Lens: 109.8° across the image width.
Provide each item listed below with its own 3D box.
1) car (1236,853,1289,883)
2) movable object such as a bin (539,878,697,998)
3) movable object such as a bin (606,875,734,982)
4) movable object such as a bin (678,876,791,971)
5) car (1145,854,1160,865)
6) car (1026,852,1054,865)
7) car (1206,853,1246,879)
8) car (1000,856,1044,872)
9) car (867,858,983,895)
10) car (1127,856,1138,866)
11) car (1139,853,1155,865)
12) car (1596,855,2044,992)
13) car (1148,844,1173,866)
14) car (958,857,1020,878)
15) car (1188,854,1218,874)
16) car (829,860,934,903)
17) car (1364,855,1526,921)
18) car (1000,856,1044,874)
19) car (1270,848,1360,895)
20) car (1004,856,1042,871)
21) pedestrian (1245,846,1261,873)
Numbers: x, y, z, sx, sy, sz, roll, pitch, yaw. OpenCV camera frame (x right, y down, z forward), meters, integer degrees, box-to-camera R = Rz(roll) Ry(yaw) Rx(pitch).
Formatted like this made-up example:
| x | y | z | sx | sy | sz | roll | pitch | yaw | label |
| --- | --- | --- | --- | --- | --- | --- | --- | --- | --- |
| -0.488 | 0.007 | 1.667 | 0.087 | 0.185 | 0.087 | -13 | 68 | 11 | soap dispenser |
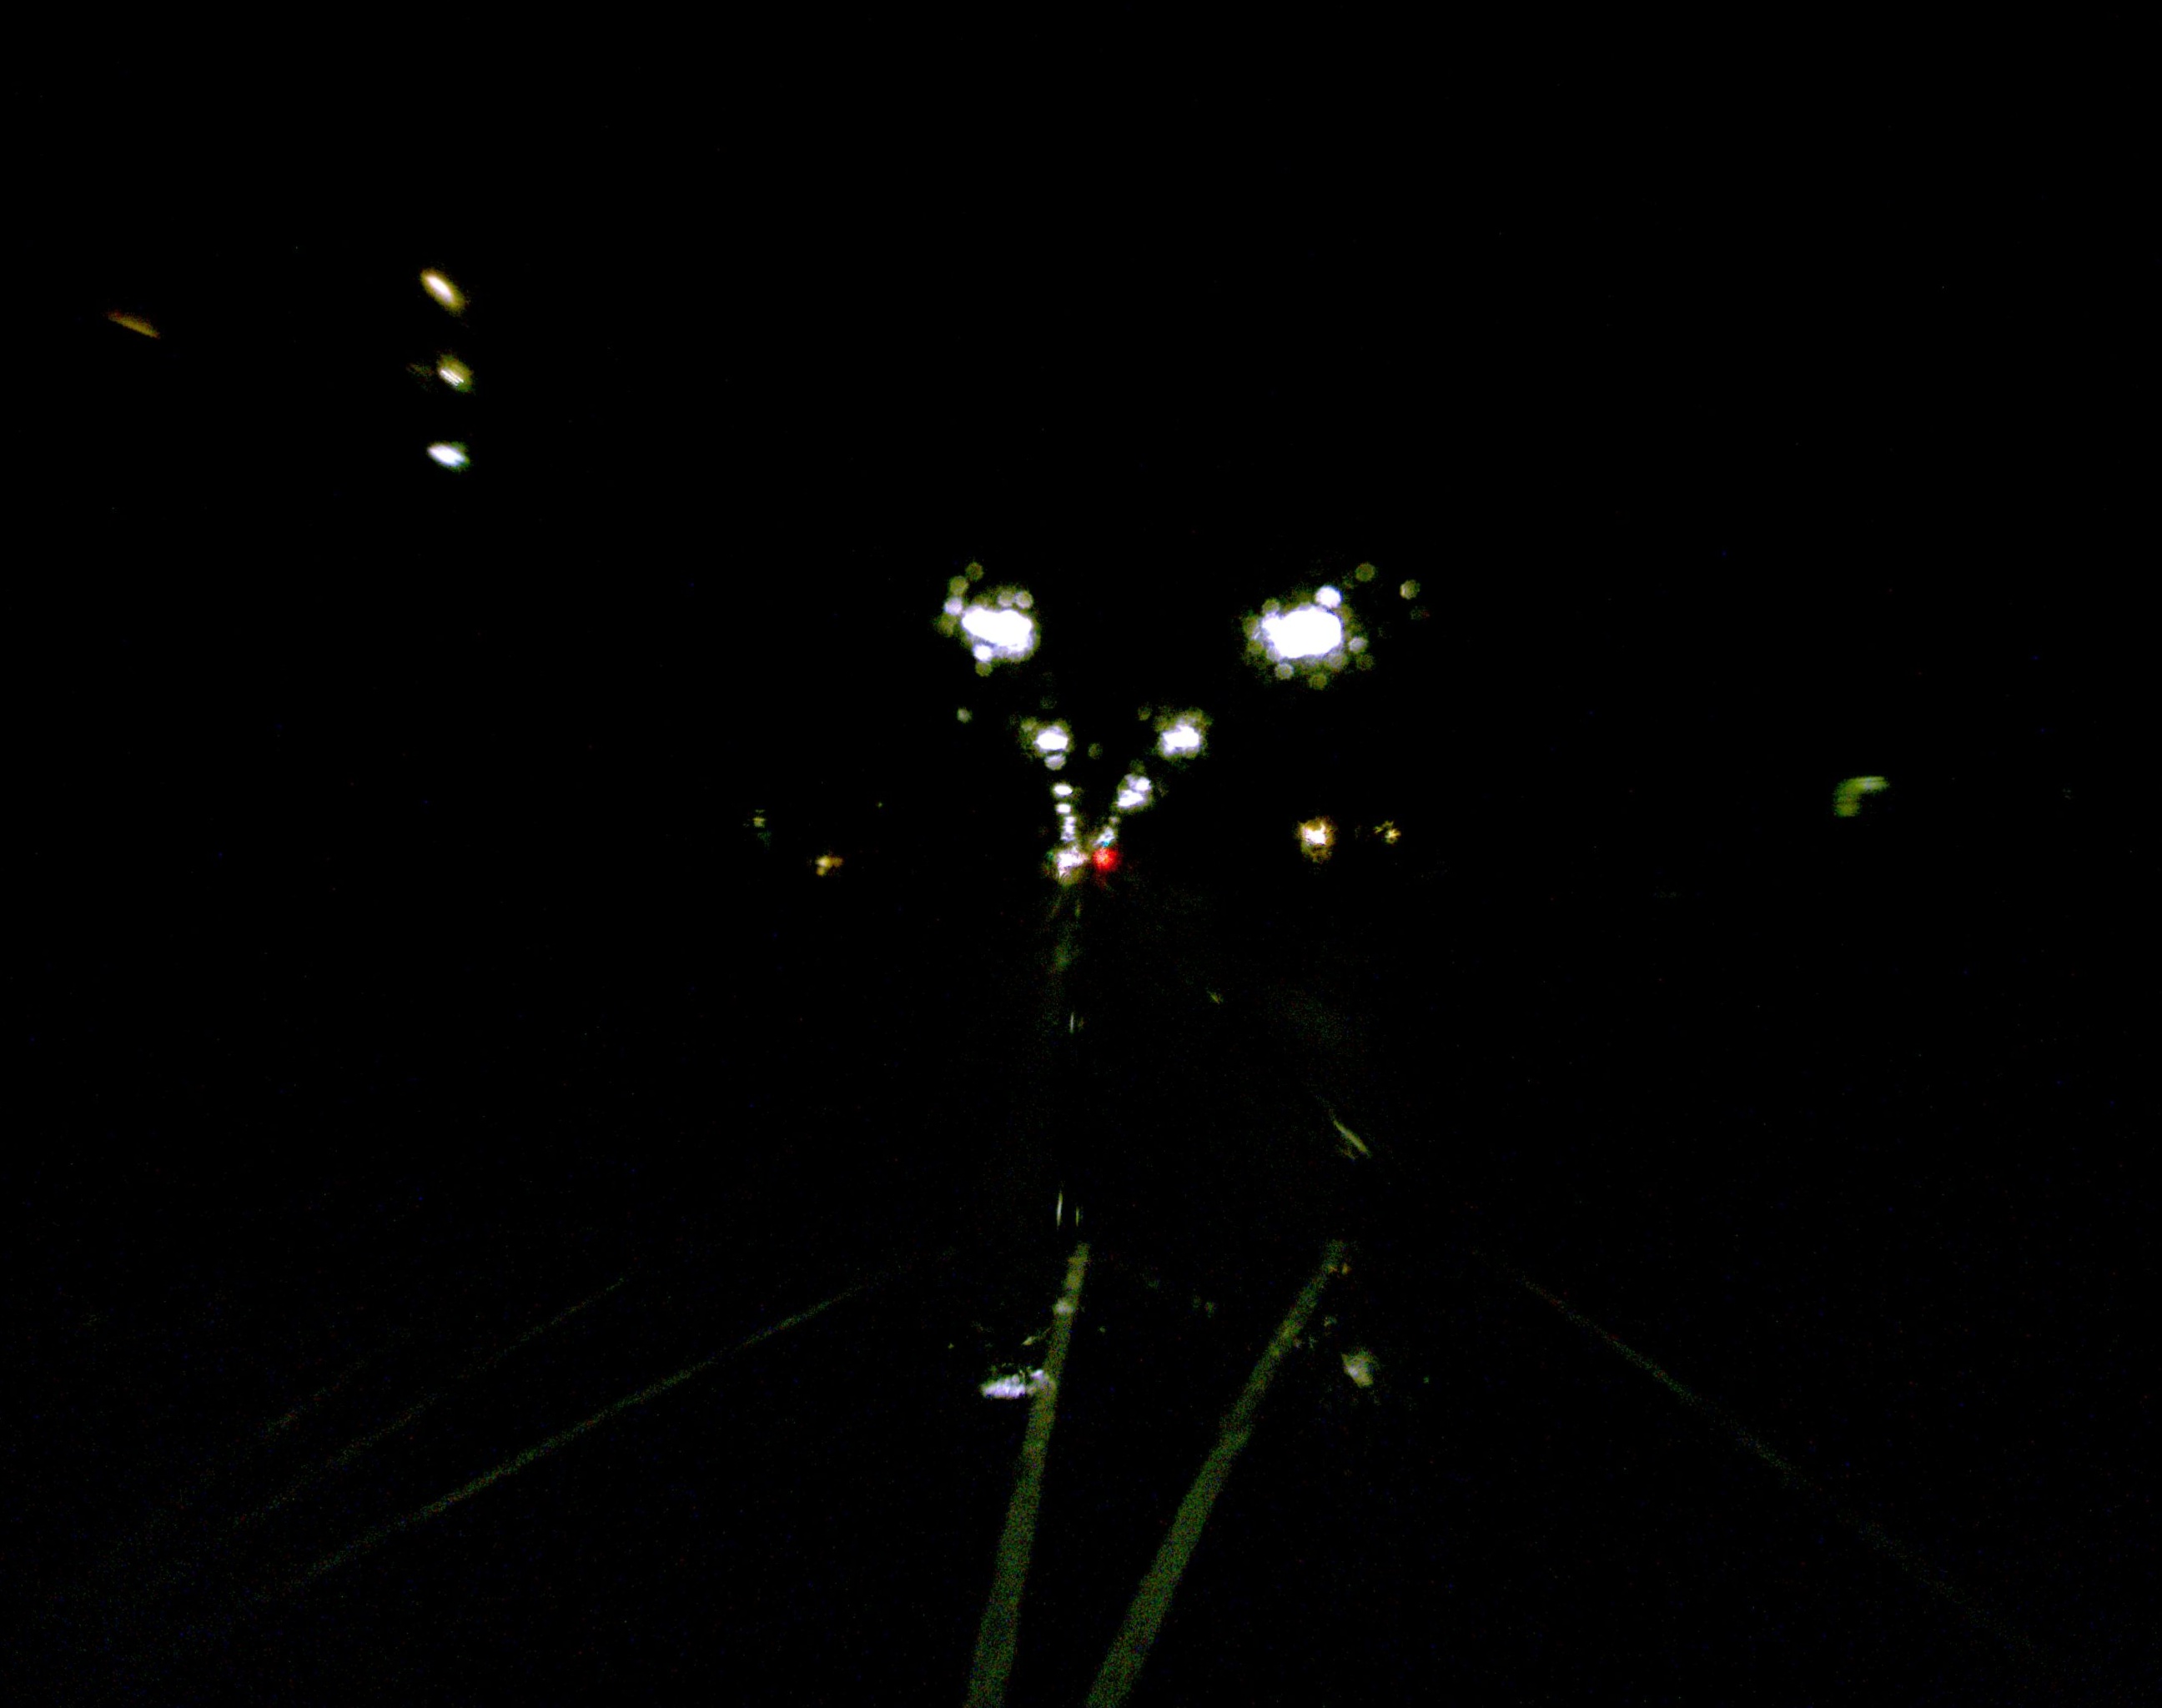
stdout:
| x | y | z | sx | sy | sz | roll | pitch | yaw | label |
| --- | --- | --- | --- | --- | --- | --- | --- | --- | --- |
| 9.550 | 0.687 | 40.360 | 1.735 | 1.430 | 4.625 | -2 | 1 | 1 | car |
| -5.969 | 1.041 | 9.878 | 1.371 | 1.414 | 1.073 | 0 | 1 | 6 | movable object such as a bin |
| -5.912 | 1.032 | 11.002 | 1.210 | 1.414 | 1.101 | 0 | 1 | 6 | movable object such as a bin |
| -5.502 | 1.071 | 12.158 | 1.326 | 1.400 | 1.159 | 0 | 1 | -5 | movable object such as a bin |
| 9.965 | 0.696 | 105.788 | 1.720 | 1.399 | 3.389 | -4 | 1 | -1 | car |
| -6.317 | 0.690 | 116.590 | 3.965 | 1.760 | 1.666 | -2 | 1 | -37 | car |
| 9.673 | 0.757 | 51.081 | 1.814 | 1.569 | 4.353 | -4 | 0 | 0 | car |
| -6.046 | 1.001 | 77.862 | 4.264 | 1.409 | 1.780 | -2 | 1 | -41 | car |
| -6.605 | 0.924 | 32.181 | 4.604 | 1.467 | 1.837 | 0 | 0 | -19 | car |
| 9.157 | 1.216 | 135.505 | 1.693 | 1.565 | 3.918 | -2 | 1 | 0 | car |
| 9.911 | 0.777 | 114.405 | 1.846 | 1.572 | 3.663 | -4 | 1 | -1 | car |
| 9.349 | 0.747 | 10.242 | 1.845 | 1.415 | 4.207 | -1 | 0 | -3 | car |
| 9.727 | 0.115 | 93.408 | 2.248 | 2.494 | 5.258 | -4 | 1 | -2 | car |
| -6.976 | 1.009 | 57.858 | 4.350 | 1.459 | 1.677 | -1 | 0 | -38 | car |
| 9.584 | 0.760 | 59.897 | 1.723 | 1.447 | 3.950 | -2 | 1 | 0 | car |
| -7.469 | 0.998 | 28.425 | 3.708 | 1.509 | 1.656 | 0 | 0 | -18 | car |
| 9.159 | 0.780 | 19.627 | 1.778 | 1.432 | 4.606 | -1 | 0 | -3 | car |
| -5.540 | 1.015 | 71.846 | 1.707 | 1.503 | 3.914 | -1 | 1 | 43 | car |
| 9.449 | 0.646 | 31.113 | 2.149 | 1.610 | 4.588 | -4 | 1 | 0 | car |
| -6.370 | 1.014 | 83.897 | 1.658 | 1.473 | 4.194 | -3 | -1 | 42 | car |
| 12.013 | 0.369 | 52.991 | 0.794 | 1.890 | 1.290 | -2 | 1 | 1 | pedestrian |
